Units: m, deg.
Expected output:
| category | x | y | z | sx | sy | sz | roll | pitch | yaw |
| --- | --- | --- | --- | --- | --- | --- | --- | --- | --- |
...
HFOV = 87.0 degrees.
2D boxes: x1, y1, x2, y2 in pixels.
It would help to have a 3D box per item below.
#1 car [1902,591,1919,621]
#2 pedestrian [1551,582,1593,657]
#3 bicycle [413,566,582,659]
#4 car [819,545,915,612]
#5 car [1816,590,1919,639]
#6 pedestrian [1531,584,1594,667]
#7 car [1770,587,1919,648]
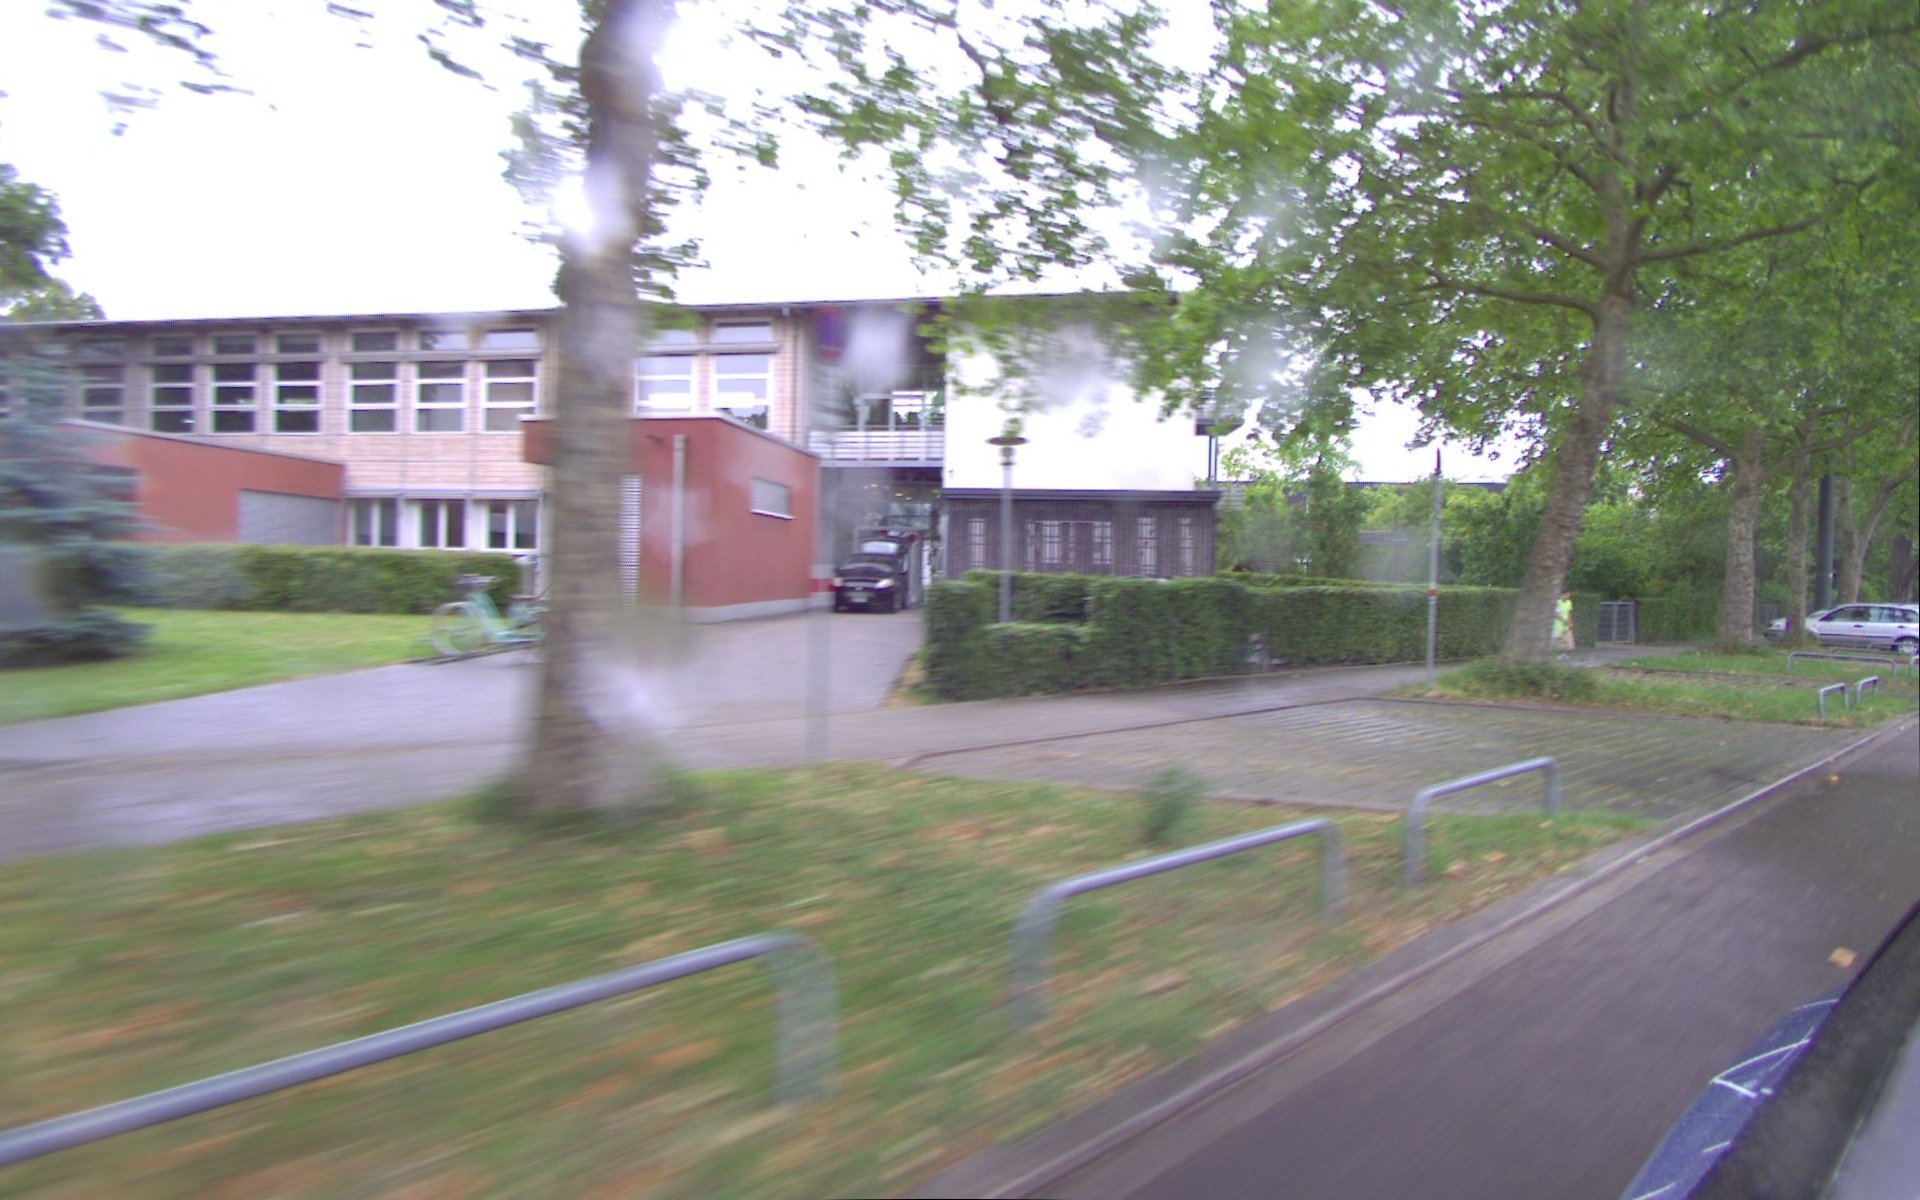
| category | x | y | z | sx | sy | sz | roll | pitch | yaw |
| --- | --- | --- | --- | --- | --- | --- | --- | --- | --- |
| car | 66.777 | 0.523 | 67.748 | 4.954 | 2.038 | 1.993 | 3 | 1 | 13 |
| pedestrian | 13.218 | 0.406 | 21.856 | 0.556 | 1.557 | 0.951 | 2 | 1 | 44 |
| bicycle | -6.074 | 0.149 | 13.315 | 2.007 | 1.104 | 0.464 | 3 | 2 | 2 |
| car | -2.234 | -0.556 | 25.334 | 1.805 | 1.492 | 3.699 | 2 | 2 | 4 |
| car | 35.260 | 0.564 | 37.692 | 4.700 | 1.689 | 1.989 | 2 | 1 | 11 |
| pedestrian | 11.814 | 0.478 | 19.850 | 0.833 | 1.557 | 0.846 | 3 | 2 | 44 |
| car | 27.062 | 0.516 | 30.513 | 3.836 | 1.585 | 1.602 | 4 | 2 | 30 |
